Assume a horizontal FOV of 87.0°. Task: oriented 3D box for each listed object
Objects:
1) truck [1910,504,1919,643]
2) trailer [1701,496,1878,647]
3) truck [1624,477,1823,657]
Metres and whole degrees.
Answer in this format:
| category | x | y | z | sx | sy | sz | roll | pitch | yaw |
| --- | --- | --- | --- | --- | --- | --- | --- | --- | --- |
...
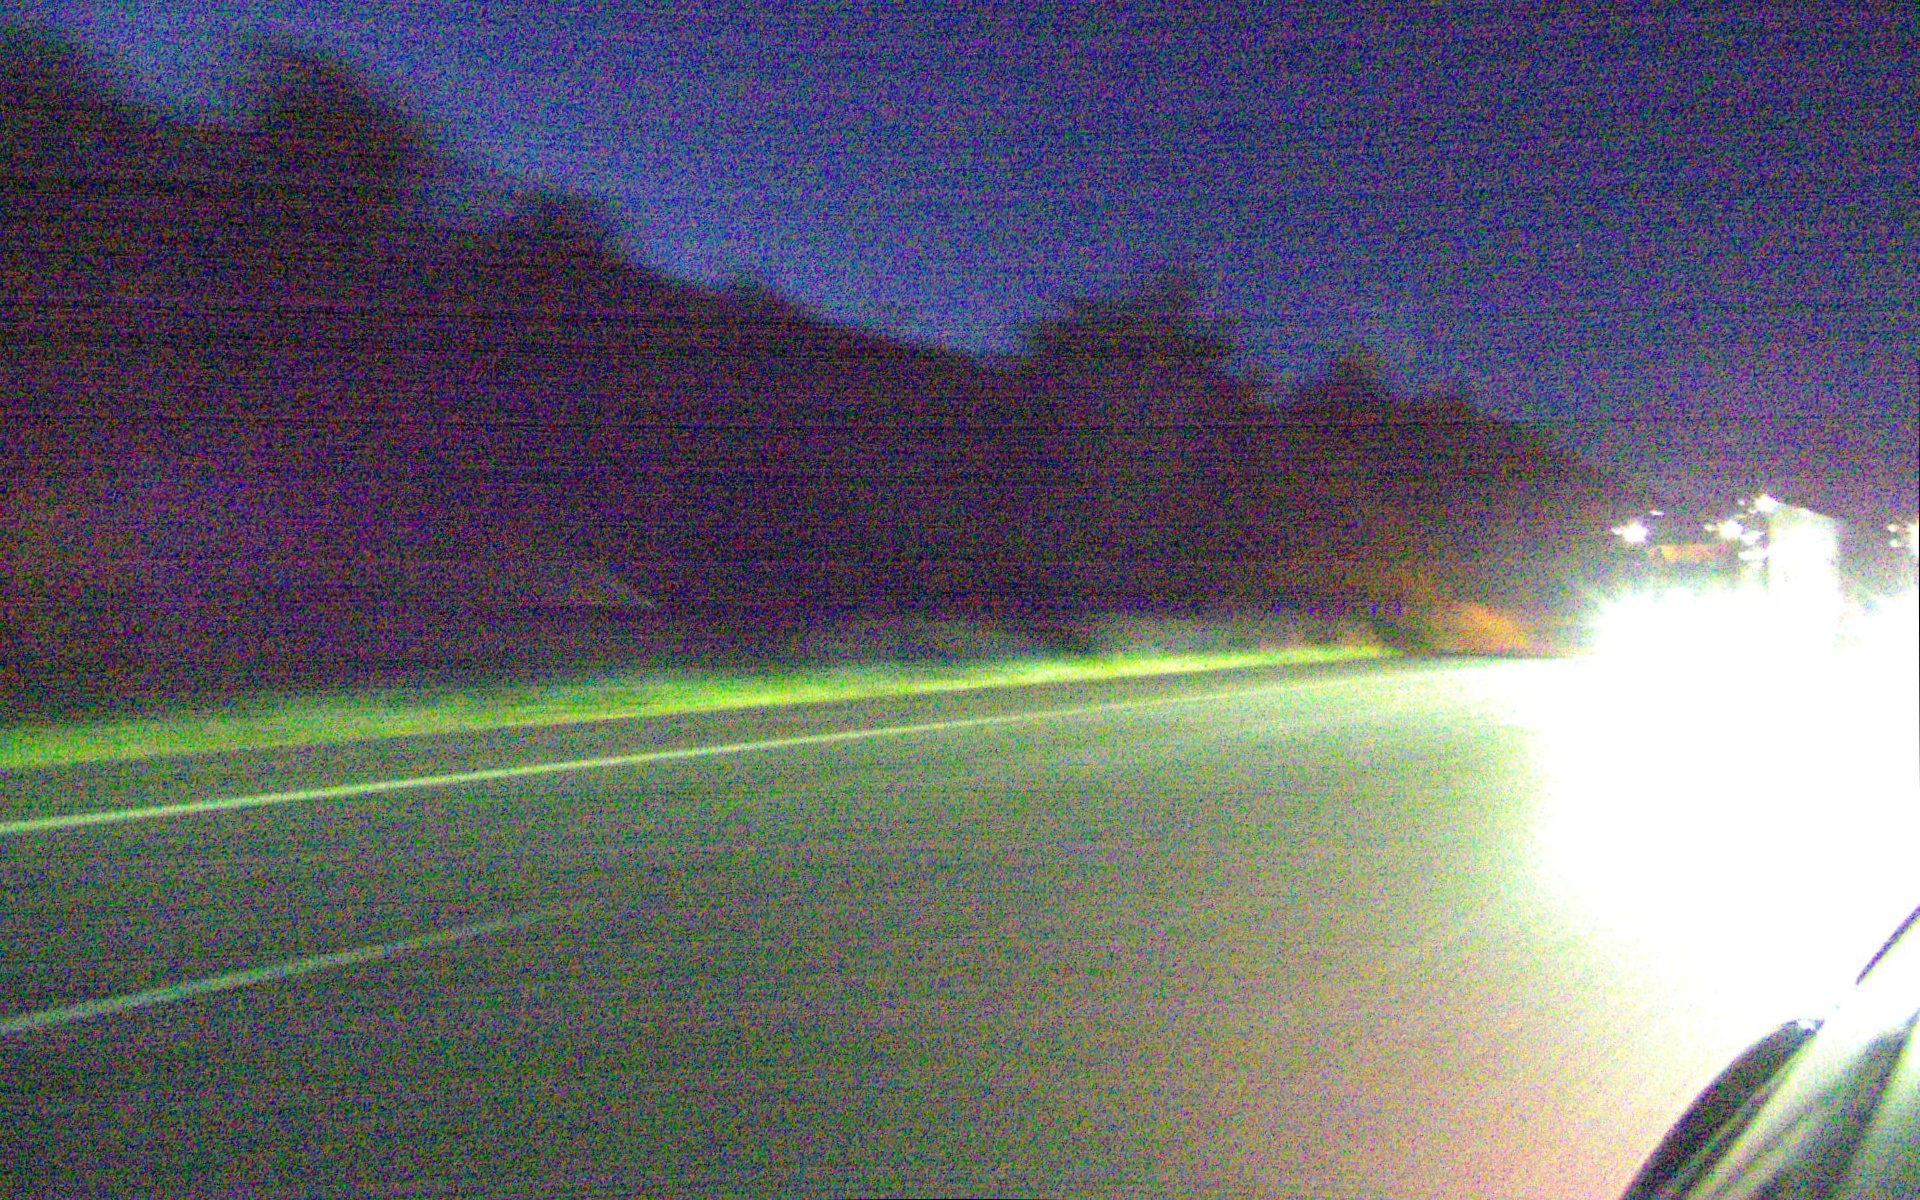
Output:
| category | x | y | z | sx | sy | sz | roll | pitch | yaw |
| --- | --- | --- | --- | --- | --- | --- | --- | --- | --- |
| truck | 32.588 | -0.823 | 32.249 | 6.604 | 4.260 | 2.667 | 0 | 0 | -40 |
| trailer | 26.140 | -0.784 | 31.649 | 9.832 | 4.124 | 2.596 | 0 | 0 | -41 |
| truck | 20.231 | -0.774 | 26.626 | 7.538 | 4.124 | 2.596 | 0 | 0 | -40 |
